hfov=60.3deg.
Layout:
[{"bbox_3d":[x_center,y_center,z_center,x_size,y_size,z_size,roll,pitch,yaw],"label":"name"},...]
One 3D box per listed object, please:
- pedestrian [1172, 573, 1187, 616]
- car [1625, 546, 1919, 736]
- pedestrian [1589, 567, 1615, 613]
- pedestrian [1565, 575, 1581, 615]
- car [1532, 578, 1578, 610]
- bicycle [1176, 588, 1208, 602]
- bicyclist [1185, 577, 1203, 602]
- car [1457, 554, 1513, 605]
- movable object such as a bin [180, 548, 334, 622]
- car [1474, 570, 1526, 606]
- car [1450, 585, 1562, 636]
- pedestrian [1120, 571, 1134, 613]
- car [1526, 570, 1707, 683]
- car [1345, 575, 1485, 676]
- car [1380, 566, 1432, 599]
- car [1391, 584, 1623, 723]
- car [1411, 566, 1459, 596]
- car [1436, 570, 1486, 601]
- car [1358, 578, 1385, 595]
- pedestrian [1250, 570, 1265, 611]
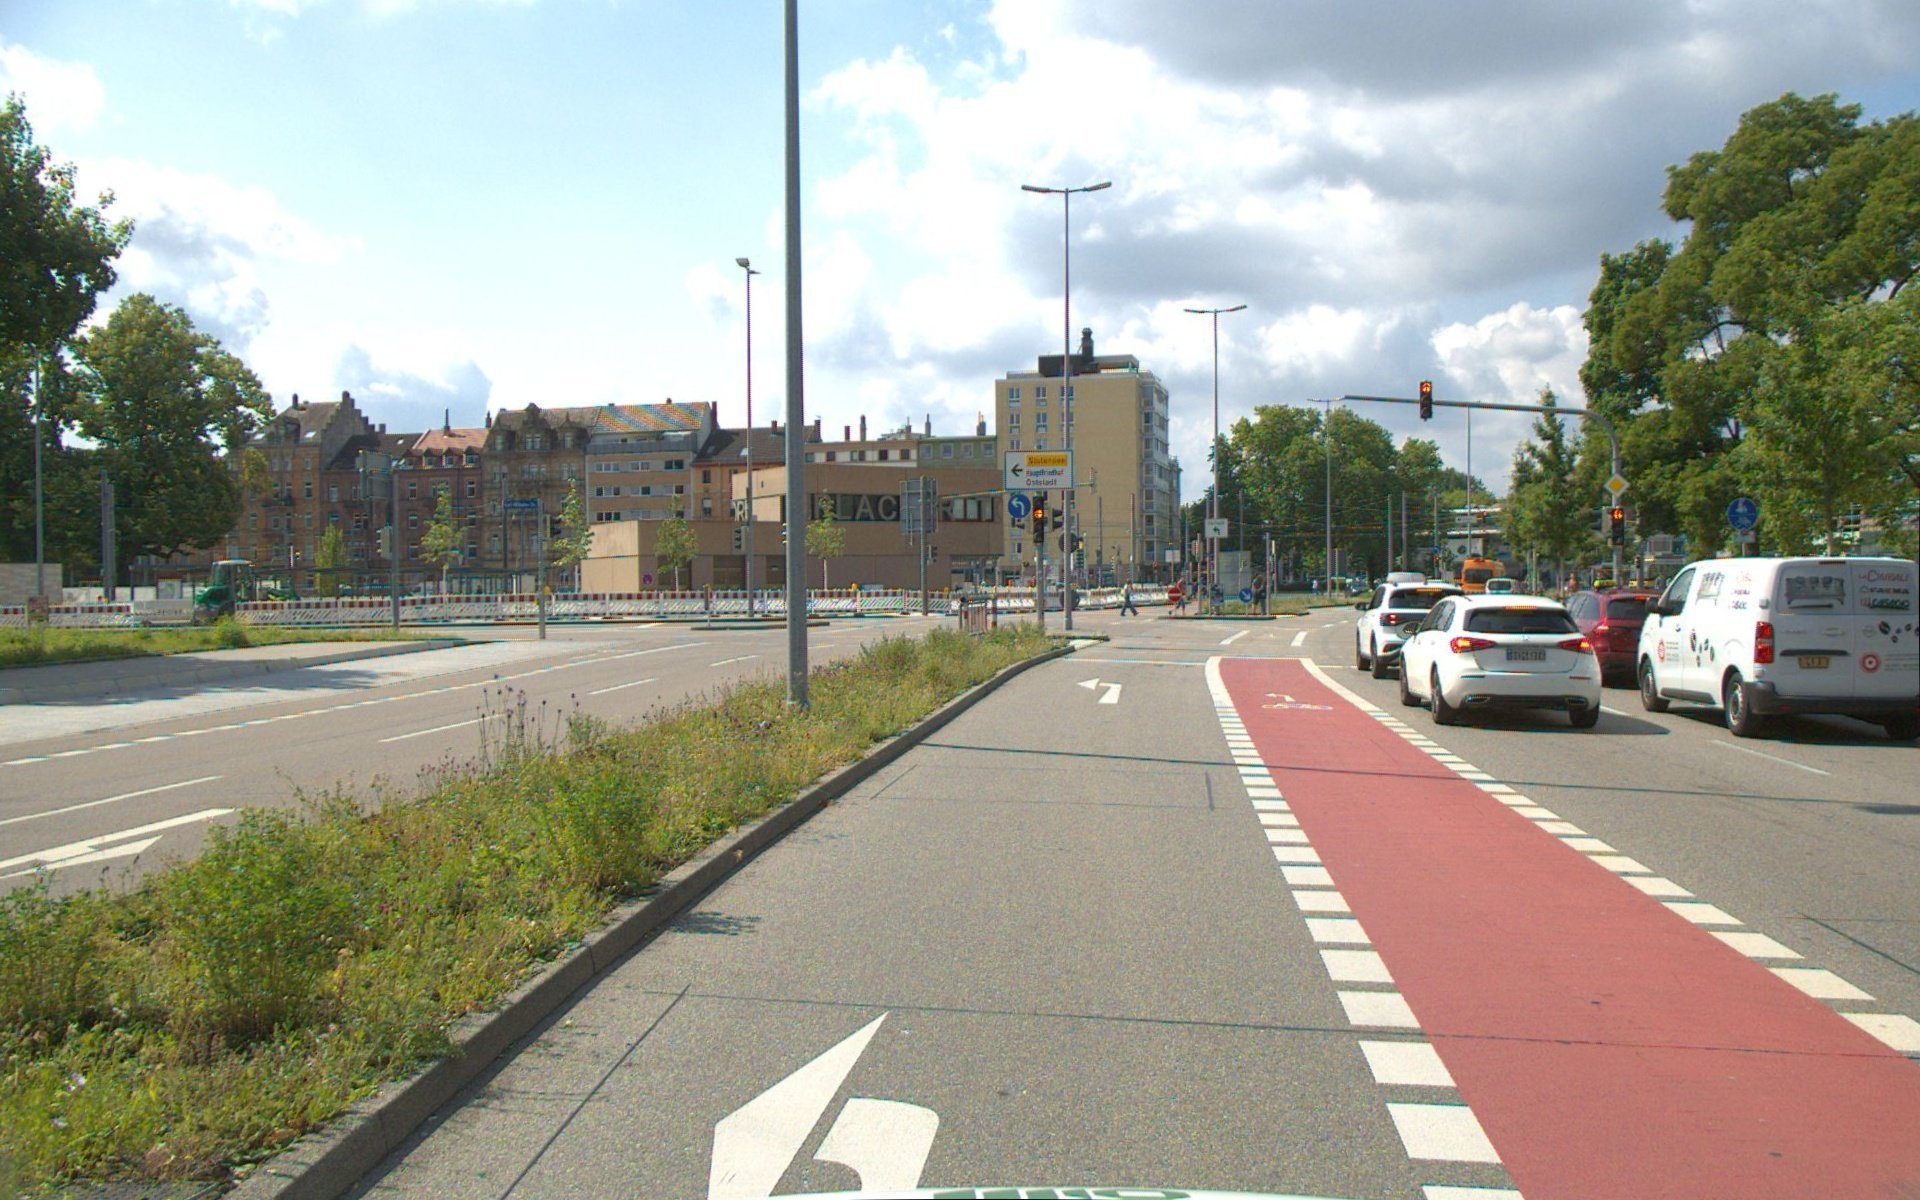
[{"bbox_3d":[9.154,-0.225,68.930,0.513,1.763,0.624,-1,0,16],"label":"pedestrian"},{"bbox_3d":[9.306,0.377,19.041,1.901,1.902,4.829,-1,1,8],"label":"car"},{"bbox_3d":[21.559,-0.334,55.552,0.753,1.534,0.552,0,0,12],"label":"pedestrian"},{"bbox_3d":[26.690,-0.215,72.030,0.646,1.763,0.578,-1,0,20],"label":"pedestrian"},{"bbox_3d":[39.047,-0.417,108.439,1.955,1.972,4.629,-1,0,31],"label":"car"},{"bbox_3d":[18.461,-0.422,131.763,2.333,1.085,0.857,0,0,28],"label":"bicycle"},{"bbox_3d":[18.640,-0.848,131.660,1.196,1.943,0.857,-1,0,28],"label":"bicyclist"},{"bbox_3d":[30.400,-1.186,95.738,2.090,2.829,4.629,-1,0,31],"label":"car"},{"bbox_3d":[-29.171,-0.626,68.738,5.490,2.935,2.255,-1,0,-40],"label":"movable object such as a bin"},{"bbox_3d":[28.405,-0.632,86.907,1.955,1.826,3.995,-1,0,28],"label":"car"},{"bbox_3d":[21.718,0.426,65.814,3.936,1.847,1.984,2,0,-25],"label":"car"},{"bbox_3d":[7.153,-0.335,70.825,0.513,1.763,0.624,-1,0,17],"label":"pedestrian"},{"bbox_3d":[10.504,0.358,26.769,1.645,1.670,4.466,0,1,7],"label":"car"},{"bbox_3d":[7.693,0.376,28.292,1.753,1.566,4.014,1,1,7],"label":"car"},{"bbox_3d":[28.182,-1.129,104.361,1.968,2.001,4.629,-1,0,31],"label":"car"},{"bbox_3d":[6.451,0.561,19.990,1.863,1.448,4.389,-1,1,8],"label":"car"},{"bbox_3d":[32.200,-1.273,112.047,1.955,1.972,4.629,-1,0,31],"label":"car"},{"bbox_3d":[30.816,-0.888,101.726,1.957,1.858,3.990,-1,0,32],"label":"car"},{"bbox_3d":[34.360,-1.115,137.976,1.755,1.412,4.228,0,0,20],"label":"car"},{"bbox_3d":[12.582,-0.392,69.926,0.513,1.713,0.624,-1,0,16],"label":"pedestrian"}]
